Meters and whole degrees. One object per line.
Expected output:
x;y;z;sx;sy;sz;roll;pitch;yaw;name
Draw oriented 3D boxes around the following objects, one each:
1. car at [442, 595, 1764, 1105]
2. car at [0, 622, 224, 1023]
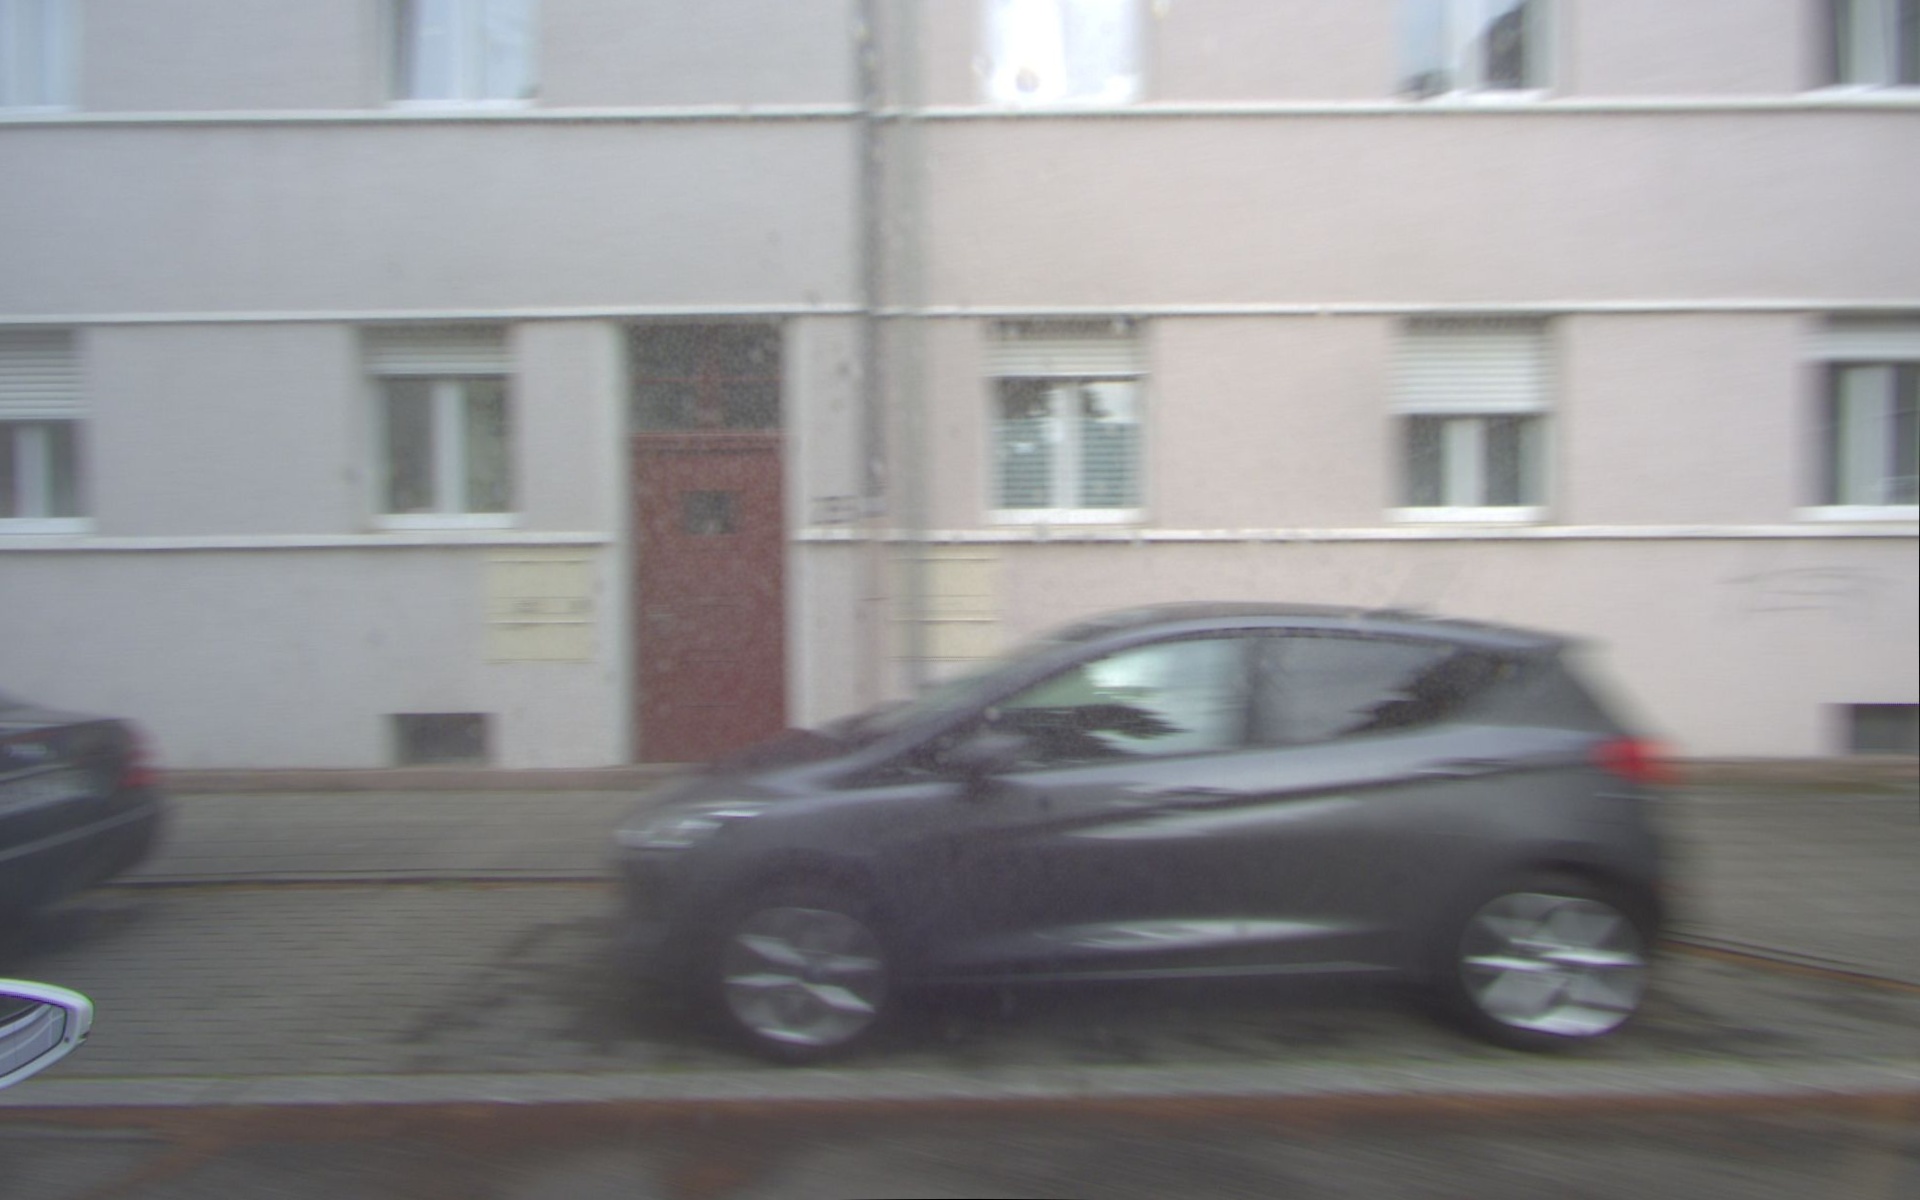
0.433;0.766;3.928;3.999;1.546;1.762;0;1;0;car
-5.966;0.828;3.917;4.853;1.440;1.750;0;1;0;car
